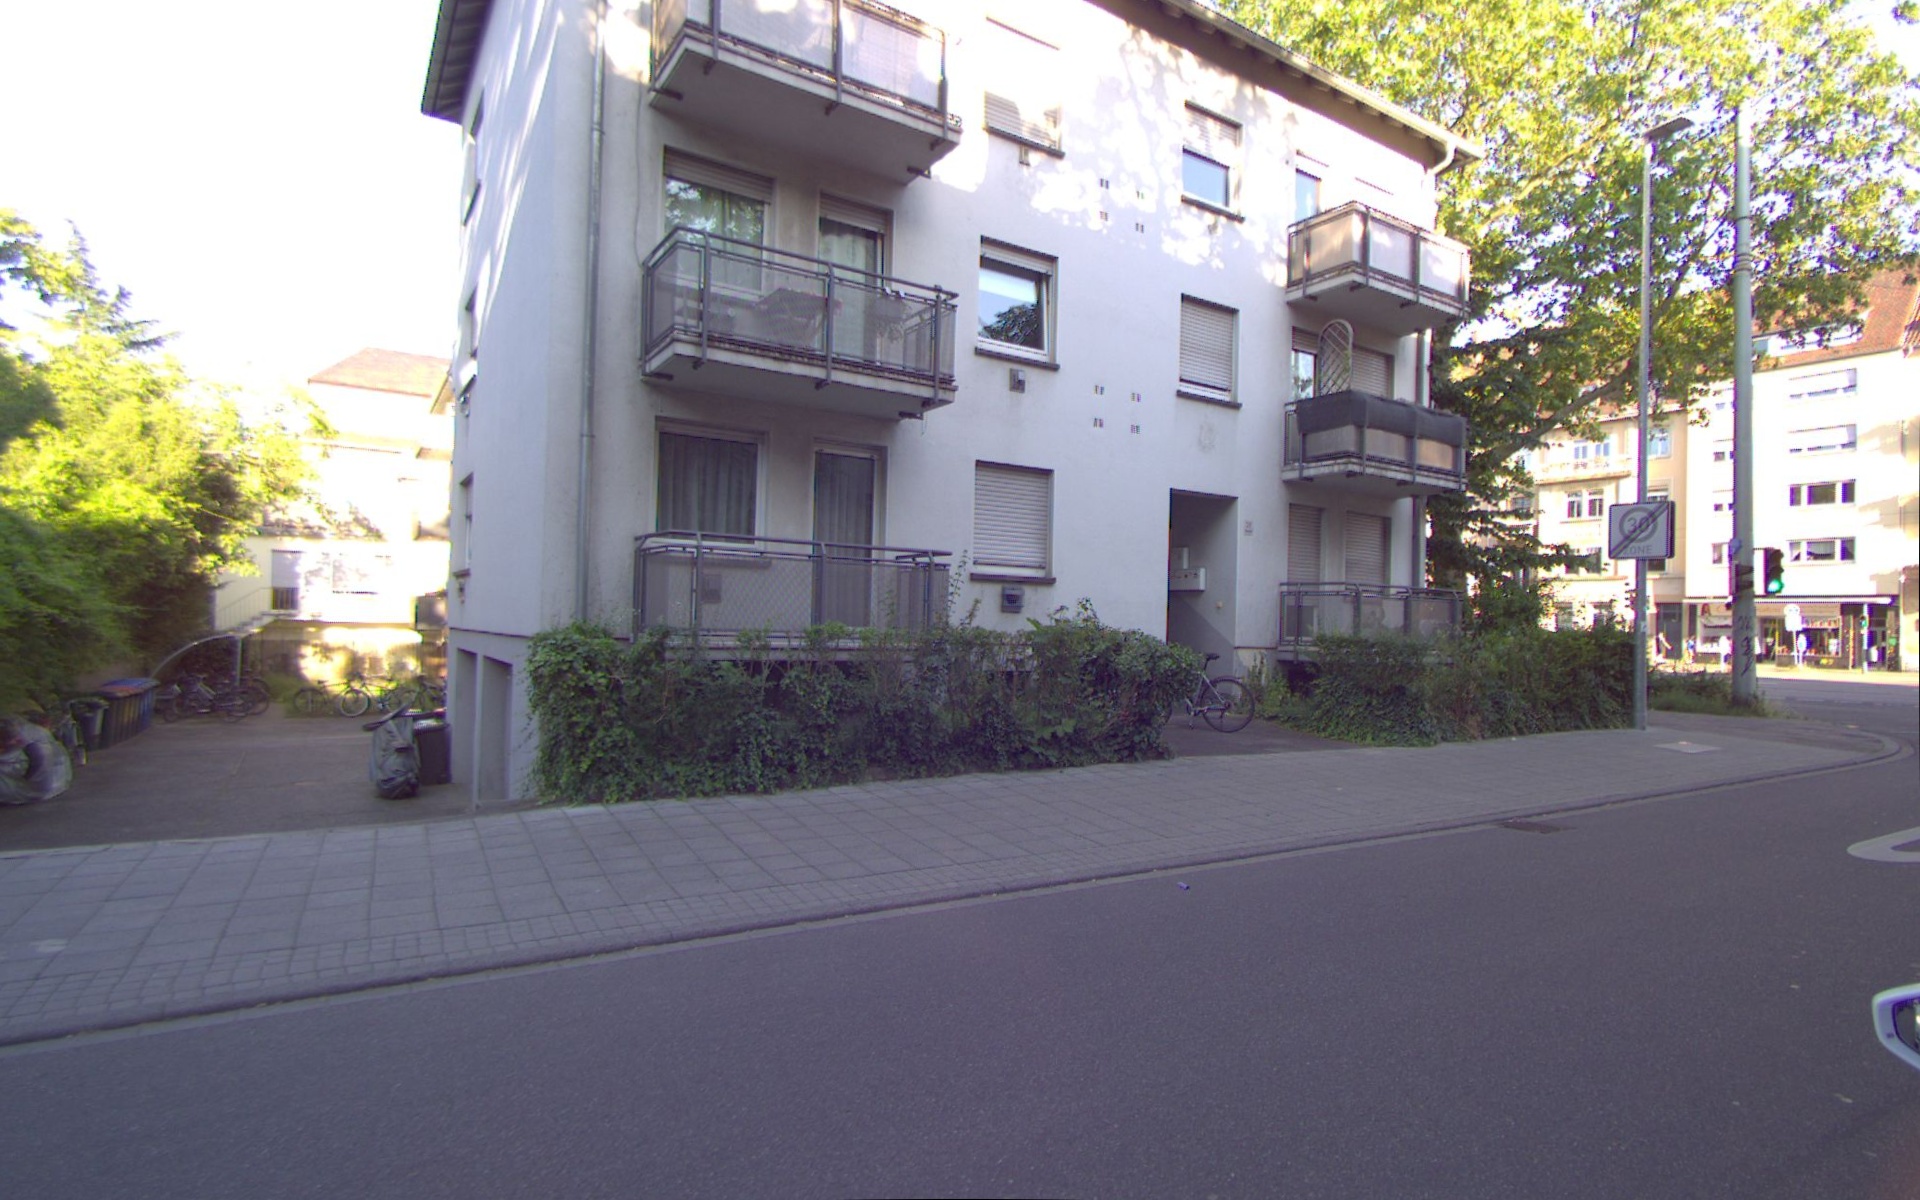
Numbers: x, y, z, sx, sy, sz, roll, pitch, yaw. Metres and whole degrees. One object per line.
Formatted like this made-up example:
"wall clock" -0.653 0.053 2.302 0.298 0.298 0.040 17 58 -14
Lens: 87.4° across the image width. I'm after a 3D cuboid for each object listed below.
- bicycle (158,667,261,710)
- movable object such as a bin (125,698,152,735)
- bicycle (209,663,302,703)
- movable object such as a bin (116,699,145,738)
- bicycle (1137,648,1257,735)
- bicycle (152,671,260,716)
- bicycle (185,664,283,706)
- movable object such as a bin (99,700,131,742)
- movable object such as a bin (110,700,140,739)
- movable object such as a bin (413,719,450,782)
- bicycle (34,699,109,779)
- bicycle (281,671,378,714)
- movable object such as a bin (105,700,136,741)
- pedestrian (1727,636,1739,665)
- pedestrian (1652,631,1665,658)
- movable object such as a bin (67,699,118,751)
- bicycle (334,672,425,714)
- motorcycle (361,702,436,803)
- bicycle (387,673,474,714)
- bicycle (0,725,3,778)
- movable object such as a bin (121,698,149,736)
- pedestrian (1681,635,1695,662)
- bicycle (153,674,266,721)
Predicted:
"bicycle" -19.581 2.318 26.271 2.044 1.034 0.611 4 0 -30
"movable object such as a bin" -17.360 2.458 21.232 0.342 0.768 0.361 2 -4 -30
"bicycle" -19.728 2.327 28.181 2.044 1.034 0.564 4 0 -30
"movable object such as a bin" -16.964 2.415 20.544 0.362 0.768 0.361 2 -4 -30
"bicycle" 3.088 1.170 13.093 1.434 0.988 0.407 3 0 21
"bicycle" -18.756 2.338 25.039 2.044 1.034 0.568 4 0 -30
"bicycle" -19.710 2.321 27.309 2.044 1.034 0.611 4 0 -30
"movable object such as a bin" -16.391 2.349 19.489 0.393 0.784 0.361 2 -4 -30
"movable object such as a bin" -16.779 2.394 20.193 0.371 0.768 0.361 2 -4 -30
"movable object such as a bin" -8.284 2.340 15.729 0.428 0.899 0.720 2 -2 -34
"bicycle" -14.004 2.160 15.874 0.509 1.033 1.922 3 -2 -31
"bicycle" -16.426 2.426 26.230 2.044 1.034 0.637 4 0 -30
"movable object such as a bin" -16.583 2.369 19.850 0.377 0.784 0.361 2 -4 -30
"pedestrian" 42.443 2.767 55.138 0.467 1.531 0.428 0 -1 41
"pedestrian" 40.065 2.529 57.598 0.559 1.531 0.499 0 -1 42
"movable object such as a bin" -15.719 2.256 18.211 0.569 0.891 0.491 3 -4 -30
"bicycle" -15.449 2.489 26.789 2.044 1.034 0.637 4 0 -30
"motorcycle" -8.164 2.174 14.587 0.751 1.268 1.578 2 -2 -36
"bicycle" -14.420 2.556 27.383 2.044 1.034 0.637 4 0 -30
"bicycle" -11.825 2.080 11.723 0.509 1.033 1.922 3 -2 -31
"movable object such as a bin" -17.156 2.429 20.885 0.362 0.768 0.361 2 -4 -30
"pedestrian" 41.360 2.746 57.095 0.531 1.531 0.505 2 -1 -36
"bicycle" -18.010 2.357 24.156 2.044 1.034 0.637 4 0 -30
